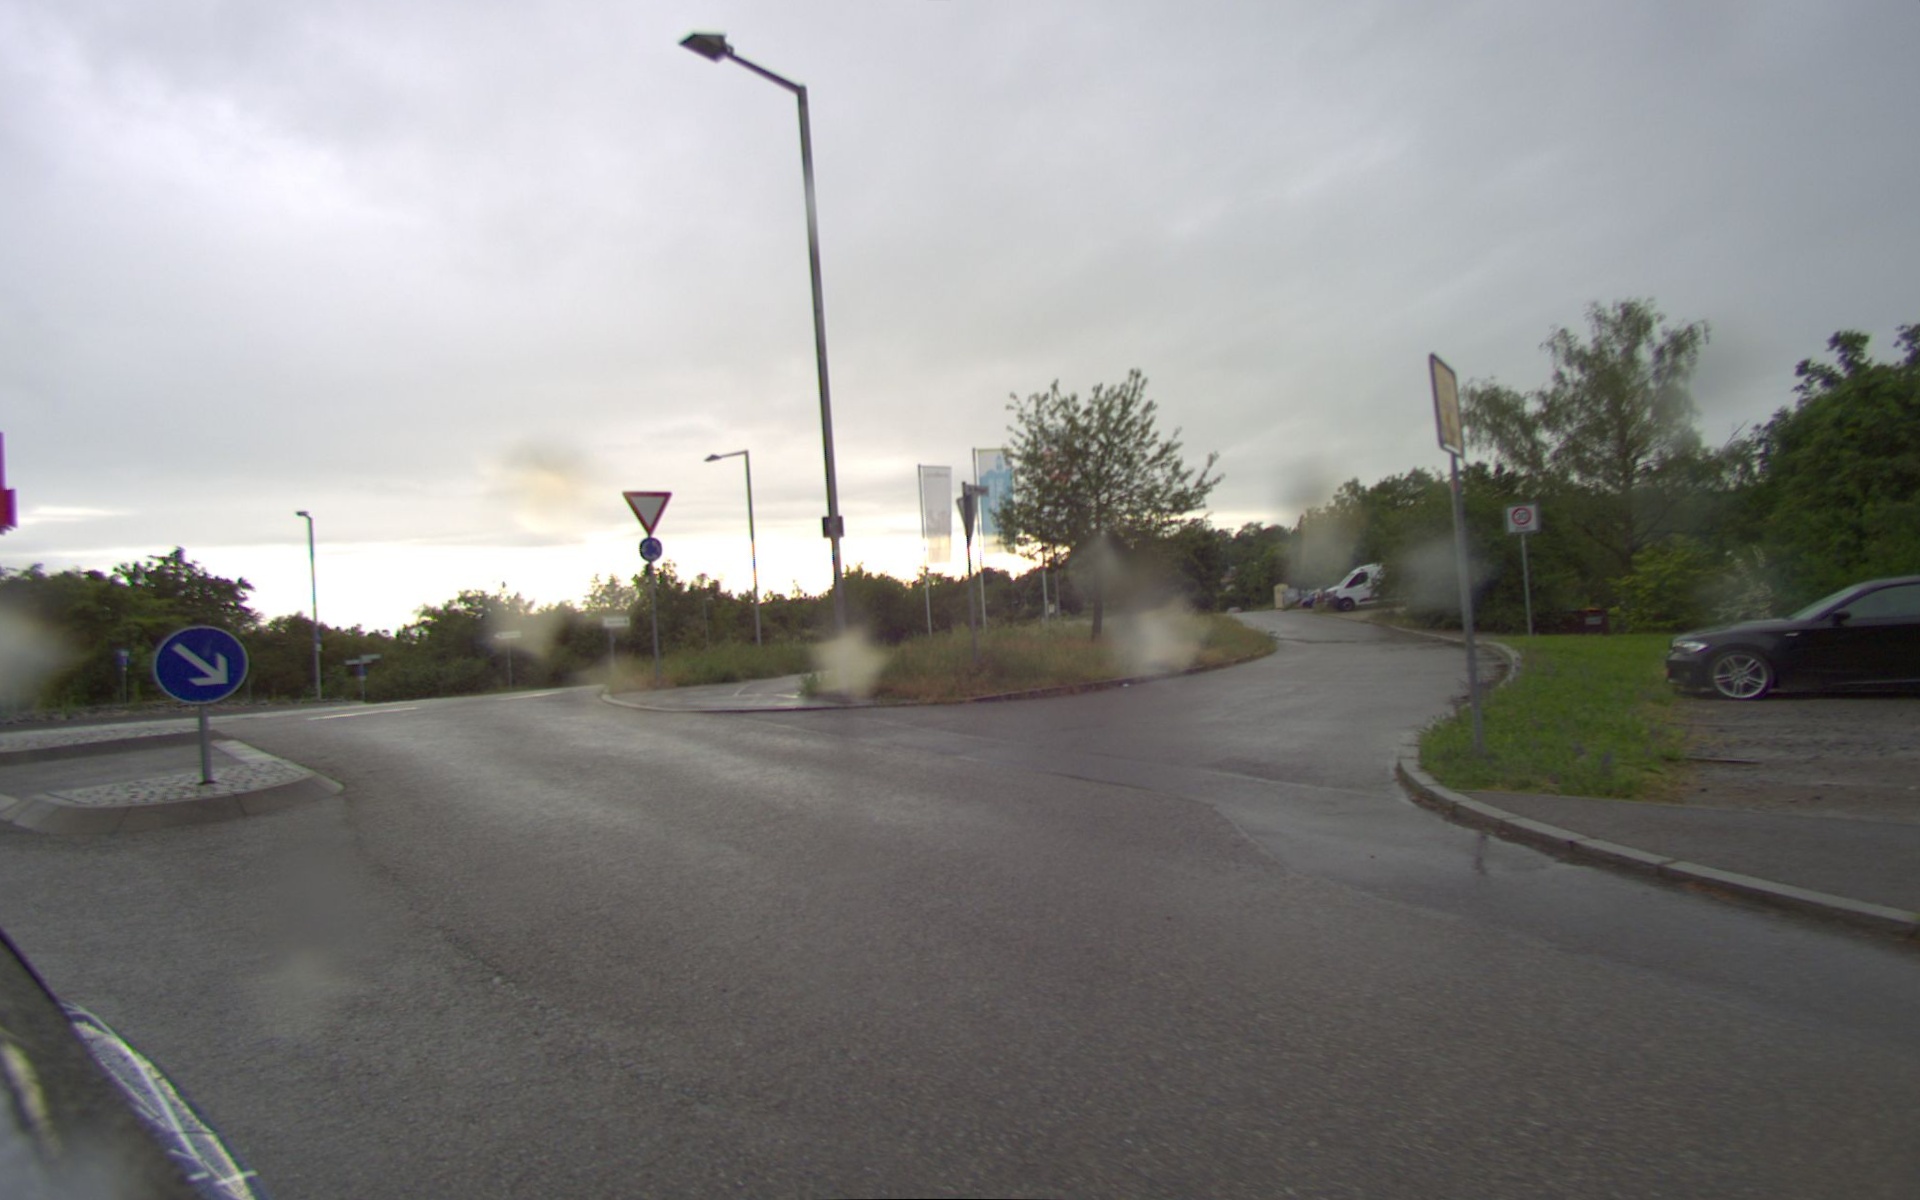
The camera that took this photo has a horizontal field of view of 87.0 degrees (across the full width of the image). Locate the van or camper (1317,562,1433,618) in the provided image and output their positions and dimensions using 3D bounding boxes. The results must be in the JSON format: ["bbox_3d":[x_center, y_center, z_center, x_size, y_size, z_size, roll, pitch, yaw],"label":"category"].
[{"bbox_3d":[23.095,-0.518,56.523,5.555,2.556,1.991,-6,-2,15],"label":"van or camper"}]

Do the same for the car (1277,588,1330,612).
[{"bbox_3d":[29.423,0.017,86.847,3.958,1.896,1.993,-3,-1,11],"label":"car"}]

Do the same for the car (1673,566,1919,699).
[{"bbox_3d":[10.920,0.328,11.566,4.421,1.425,1.975,-3,-1,37],"label":"car"}]
